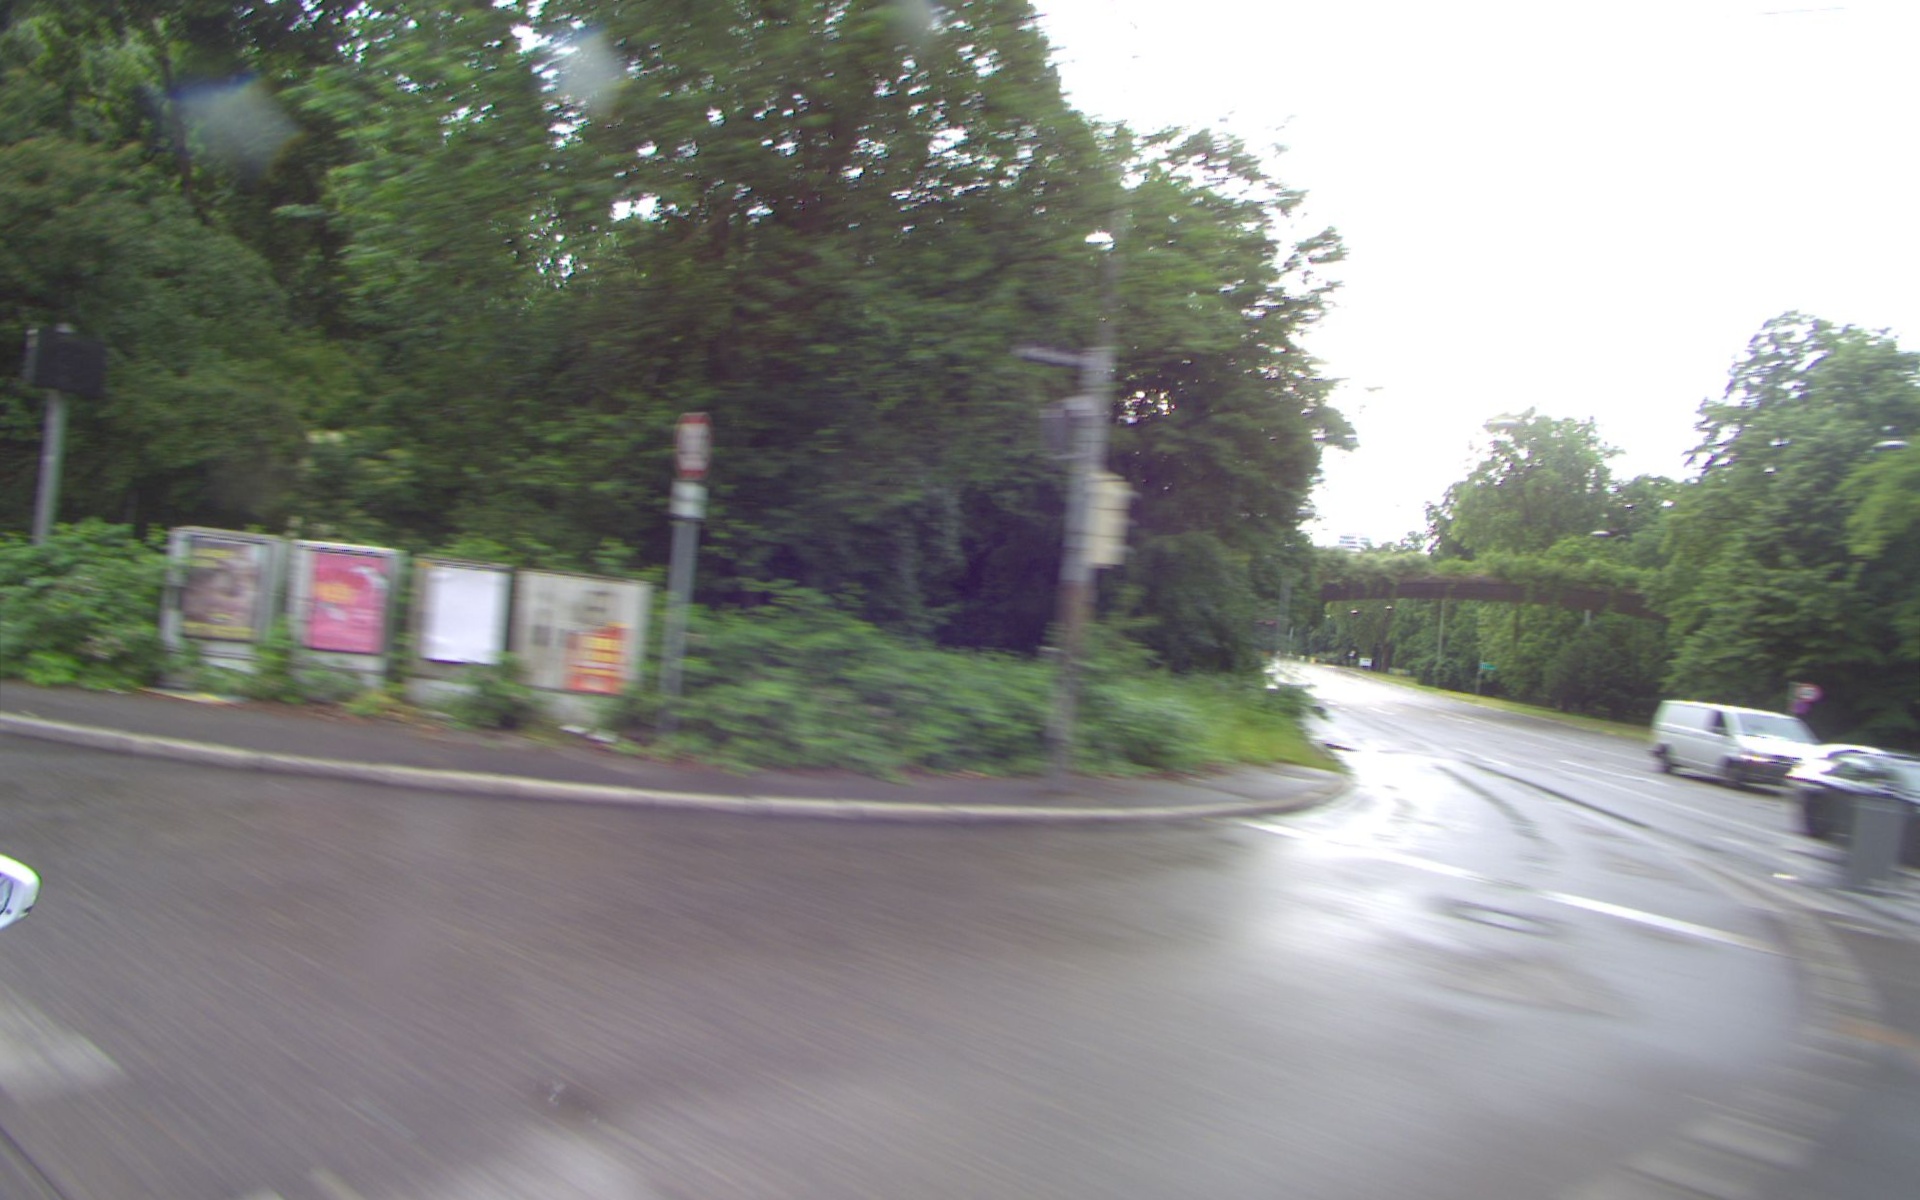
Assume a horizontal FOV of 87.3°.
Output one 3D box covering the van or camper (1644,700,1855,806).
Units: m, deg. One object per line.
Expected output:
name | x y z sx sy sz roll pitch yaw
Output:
van or camper | 19.514 3.698 25.198 1.870 1.969 4.873 7 -3 9

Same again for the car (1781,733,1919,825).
car | 18.288 3.536 19.586 1.627 1.477 3.872 7 -4 7

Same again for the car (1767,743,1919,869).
car | 13.896 3.041 14.317 1.794 1.418 4.453 7 -2 11
